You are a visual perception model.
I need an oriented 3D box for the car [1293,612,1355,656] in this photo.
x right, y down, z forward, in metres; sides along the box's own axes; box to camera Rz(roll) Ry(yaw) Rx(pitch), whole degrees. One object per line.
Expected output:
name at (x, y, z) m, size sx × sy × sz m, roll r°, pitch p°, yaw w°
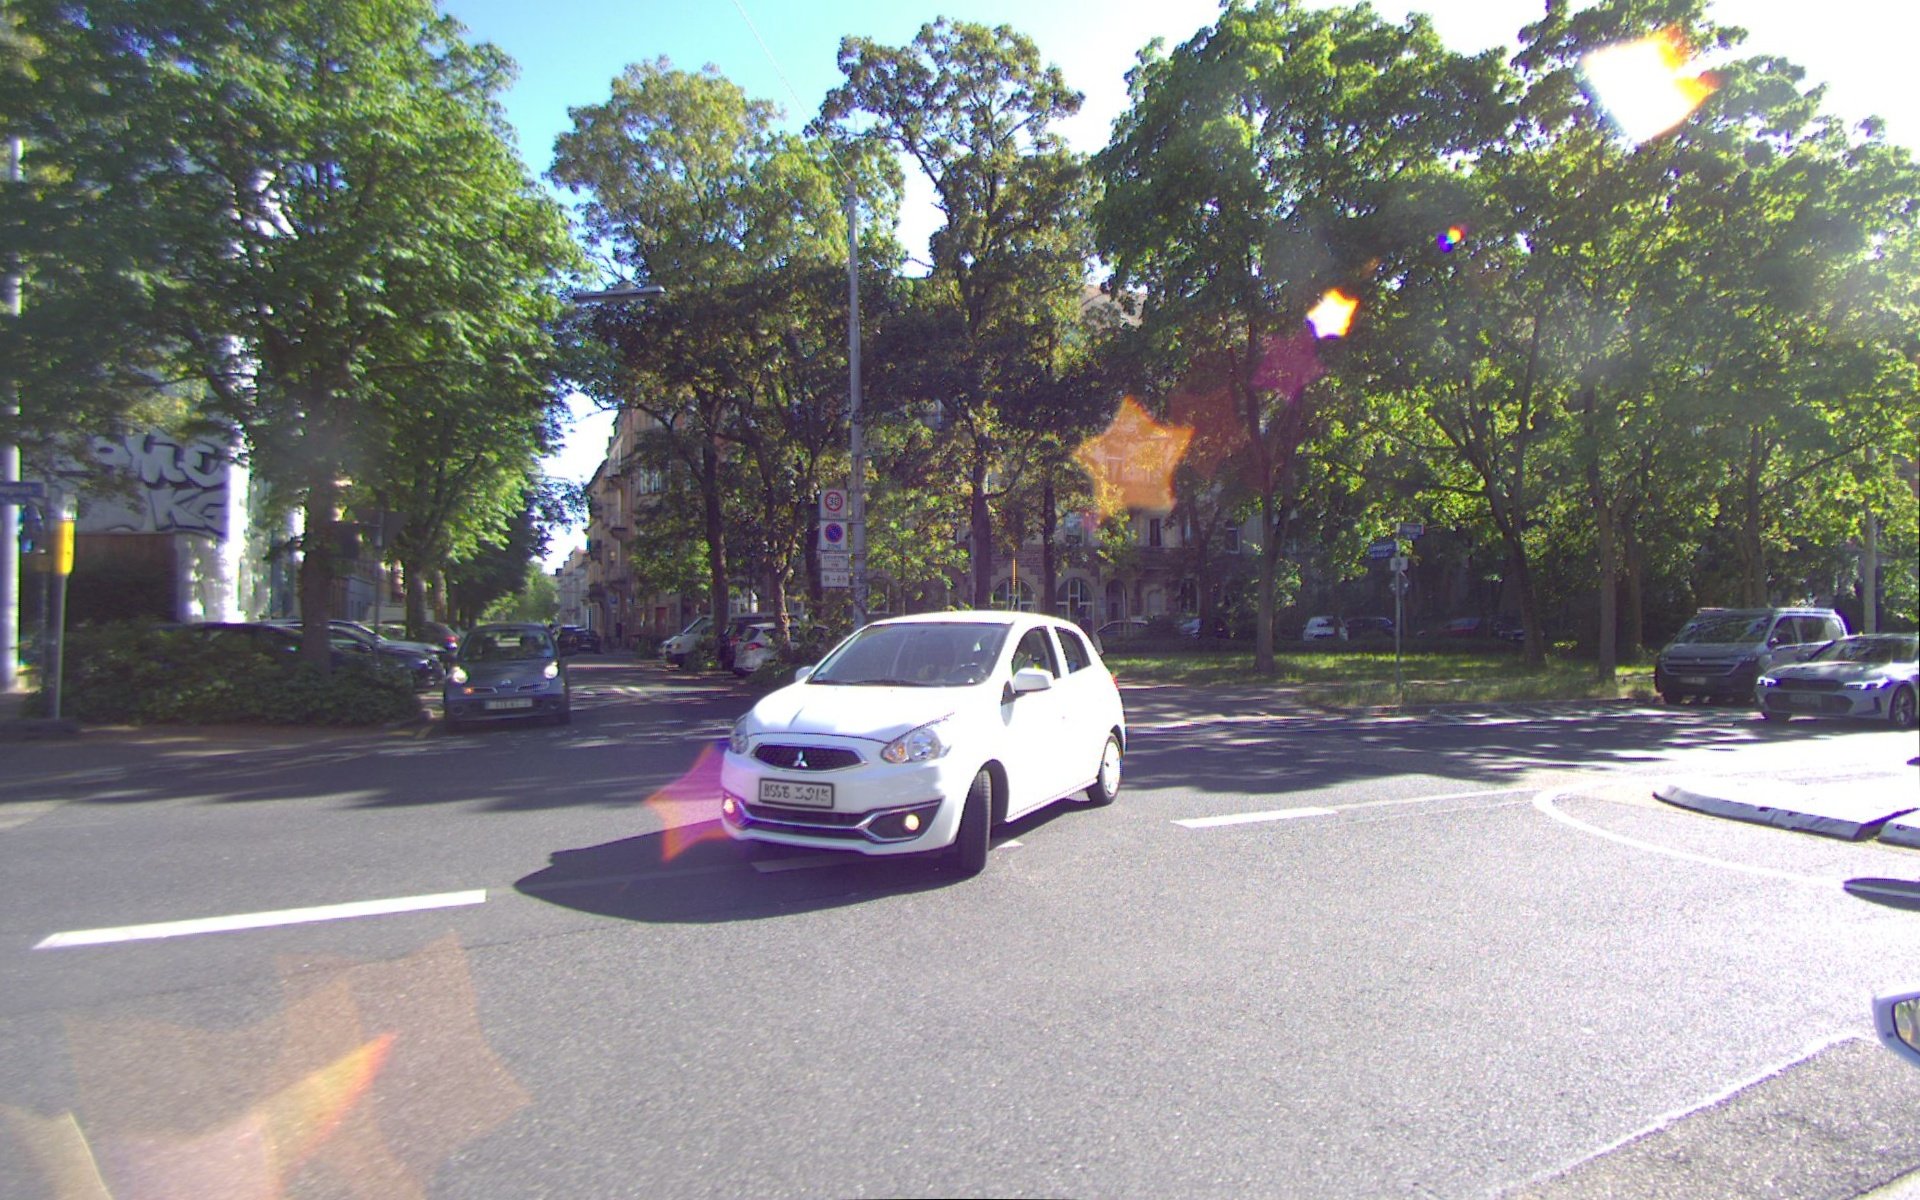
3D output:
car at (15.064, 1.376, 41.491) m, size 1.945 × 1.684 × 3.995 m, roll 0°, pitch -1°, yaw 27°

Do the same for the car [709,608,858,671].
car at (-5.172, 1.111, 29.524) m, size 3.953 × 1.676 × 1.836 m, roll 0°, pitch 1°, yaw -31°

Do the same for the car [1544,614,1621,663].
car at (23.094, 1.385, 37.194) m, size 1.951 × 1.684 × 3.982 m, roll 0°, pitch -1°, yaw 39°

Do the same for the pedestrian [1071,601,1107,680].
pedestrian at (2.763, 0.859, 21.509) m, size 0.701 × 1.648 × 0.671 m, roll 1°, pitch 0°, yaw 3°

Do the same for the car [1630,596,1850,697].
car at (16.805, 1.017, 21.598) m, size 4.807 × 1.954 × 2.188 m, roll 3°, pitch -2°, yaw -31°

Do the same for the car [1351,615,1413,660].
car at (16.809, 1.438, 39.912) m, size 1.945 × 1.684 × 3.994 m, roll 0°, pitch -1°, yaw 28°

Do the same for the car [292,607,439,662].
car at (-19.318, 1.130, 32.816) m, size 3.954 × 1.510 × 1.837 m, roll 5°, pitch -2°, yaw -30°

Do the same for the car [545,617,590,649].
car at (-25.695, 2.137, 65.684) m, size 1.979 × 1.884 × 3.964 m, roll 5°, pitch -2°, yaw -32°

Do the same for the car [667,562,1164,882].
car at (0.004, 0.648, 6.971) m, size 1.732 × 1.539 × 3.854 m, roll -1°, pitch -2°, yaw 28°

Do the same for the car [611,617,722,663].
car at (-11.539, 1.586, 39.540) m, size 3.946 × 1.676 × 1.840 m, roll 2°, pitch 0°, yaw -25°

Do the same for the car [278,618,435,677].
car at (-18.492, 1.469, 30.975) m, size 3.954 × 1.510 × 1.837 m, roll 5°, pitch -2°, yaw -30°

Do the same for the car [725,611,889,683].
car at (-4.159, 1.278, 27.370) m, size 3.954 × 1.675 × 1.837 m, roll 5°, pitch -2°, yaw -30°

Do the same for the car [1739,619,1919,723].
car at (15.022, 1.134, 16.376) m, size 4.353 × 1.479 × 1.780 m, roll 2°, pitch -1°, yaw -23°

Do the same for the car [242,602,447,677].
car at (-14.587, 0.943, 24.044) m, size 3.954 × 1.510 × 1.837 m, roll 5°, pitch -2°, yaw -30°

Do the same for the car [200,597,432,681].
car at (-13.660, 0.841, 21.595) m, size 3.954 × 1.510 × 1.837 m, roll 5°, pitch -2°, yaw -30°

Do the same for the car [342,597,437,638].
car at (-30.941, 0.949, 54.665) m, size 4.332 × 2.173 × 1.840 m, roll 1°, pitch -1°, yaw -26°

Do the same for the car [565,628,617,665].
car at (-21.742, 2.725, 59.146) m, size 1.979 × 1.884 × 3.964 m, roll 5°, pitch -2°, yaw -32°

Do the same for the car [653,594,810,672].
car at (-8.005, 1.185, 35.366) m, size 4.929 × 2.354 × 1.837 m, roll 5°, pitch -2°, yaw -30°

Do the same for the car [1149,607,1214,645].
car at (9.433, 1.080, 42.559) m, size 1.790 × 1.519 × 3.995 m, roll 0°, pitch -1°, yaw 27°

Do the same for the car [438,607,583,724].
car at (-6.888, 0.882, 15.450) m, size 1.786 × 1.489 × 3.976 m, roll -1°, pitch 1°, yaw -24°

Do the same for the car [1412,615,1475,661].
car at (18.788, 1.442, 38.971) m, size 1.946 × 1.684 × 3.993 m, roll 0°, pitch -1°, yaw 30°
